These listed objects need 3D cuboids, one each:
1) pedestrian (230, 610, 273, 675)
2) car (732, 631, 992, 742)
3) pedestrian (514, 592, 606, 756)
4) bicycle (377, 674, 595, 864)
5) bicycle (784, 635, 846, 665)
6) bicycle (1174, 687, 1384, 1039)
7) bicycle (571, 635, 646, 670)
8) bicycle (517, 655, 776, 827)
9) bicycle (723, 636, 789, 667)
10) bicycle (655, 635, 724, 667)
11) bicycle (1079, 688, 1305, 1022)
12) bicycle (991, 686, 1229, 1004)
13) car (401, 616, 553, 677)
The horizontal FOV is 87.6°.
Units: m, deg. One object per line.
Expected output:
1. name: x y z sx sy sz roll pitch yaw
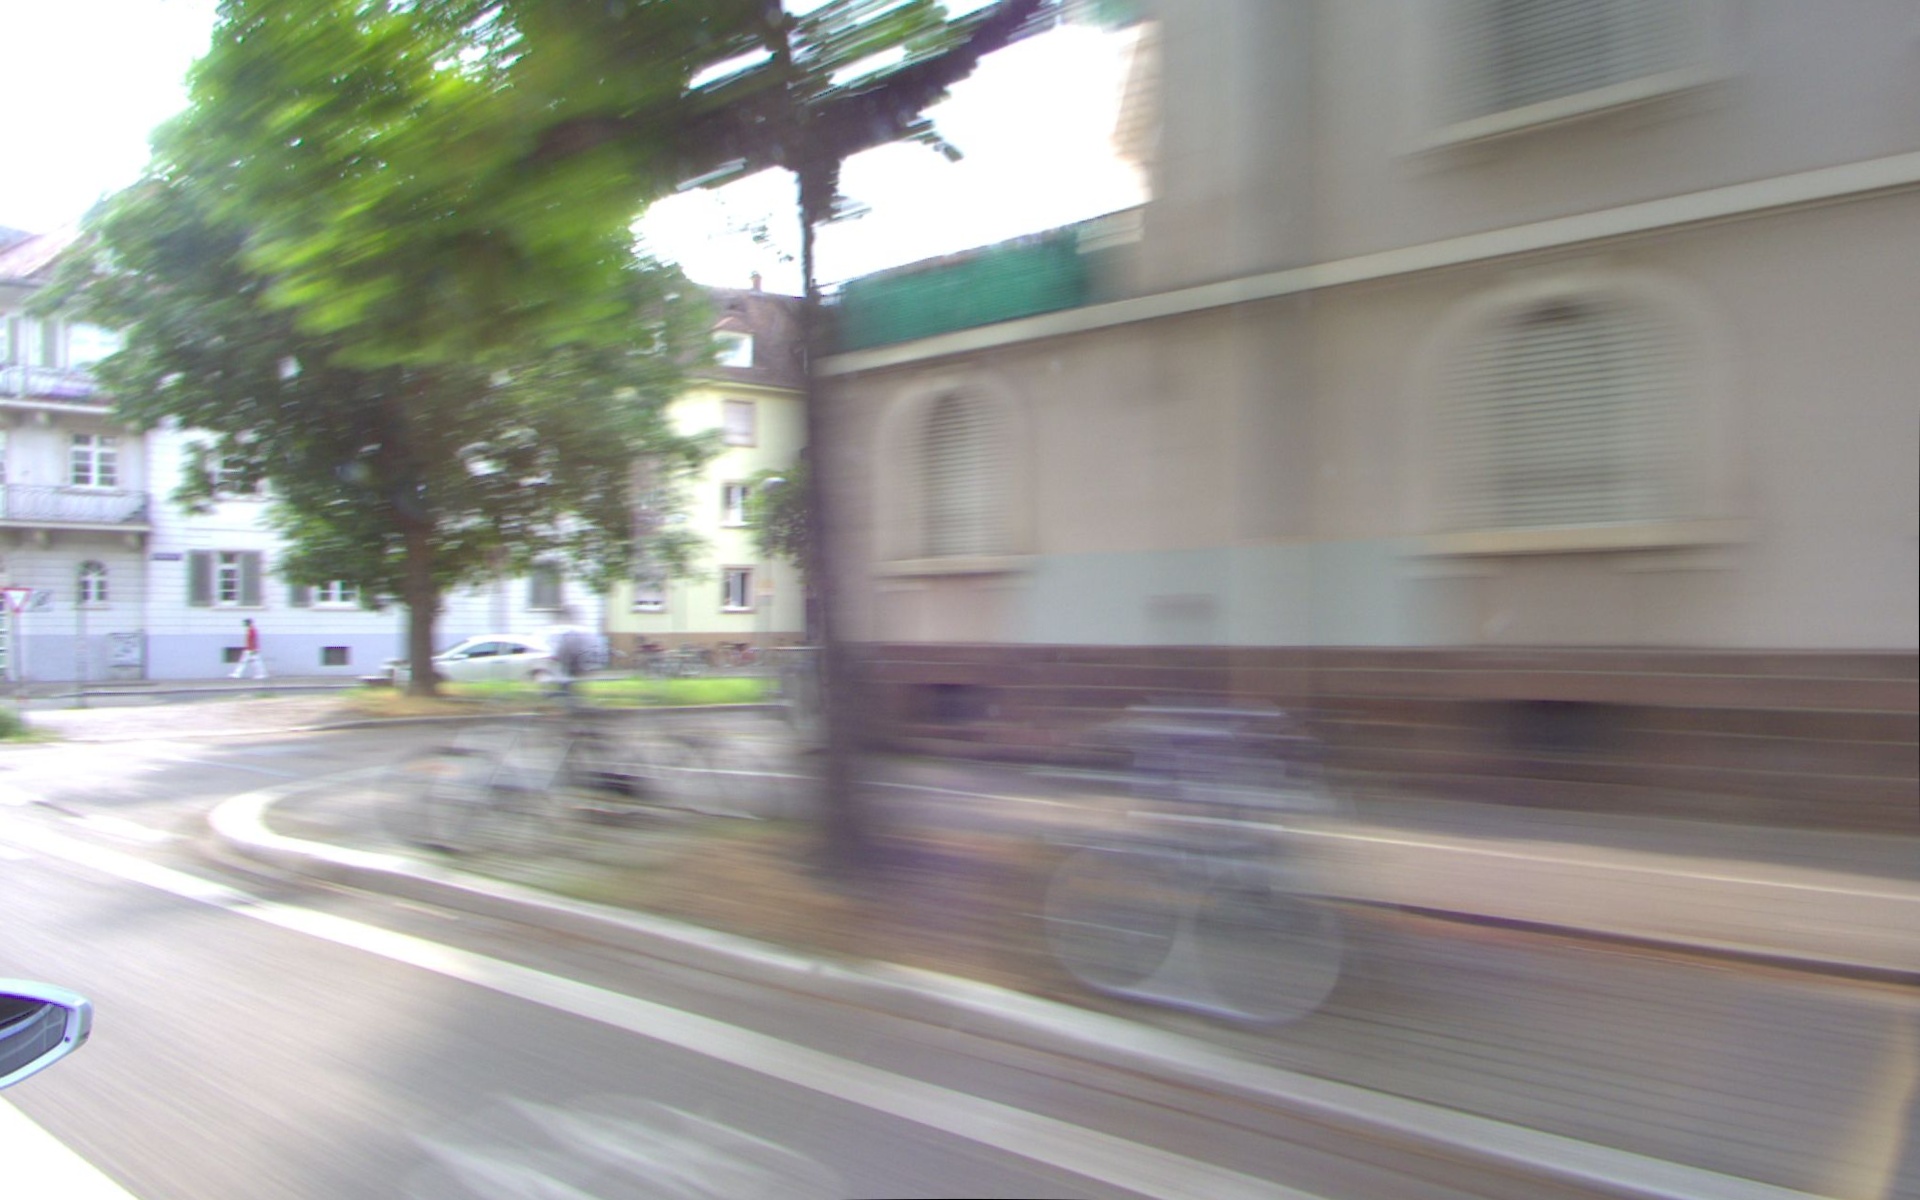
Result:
1. pedestrian: -21.755 1.299 30.768 0.964 1.961 0.897 1 -2 -31
2. car: -1.439 1.207 15.095 3.529 1.470 1.720 1 -2 -35
3. pedestrian: -4.758 0.853 11.888 1.019 1.857 0.615 -1 -1 41
4. bicycle: -3.110 1.061 6.670 0.471 1.080 1.266 -1 -1 31
5. bicycle: -5.960 2.046 41.146 2.485 1.163 0.677 1 2 -38
6. bicycle: 1.374 0.947 4.123 0.344 1.084 1.642 -1 -1 35
7. bicycle: -12.800 1.897 36.514 2.485 1.163 0.677 1 2 -38
8. bicycle: -2.328 1.008 7.466 1.802 1.173 0.586 0 -1 14
9. bicycle: -8.067 2.019 39.618 2.485 1.163 0.677 1 2 -38
10. bicycle: -10.351 1.937 38.417 2.485 1.163 0.677 1 2 -38
11. bicycle: 1.061 0.967 4.306 0.344 1.084 1.642 -1 -1 36
12. bicycle: 0.738 0.973 4.477 0.344 1.084 1.642 -1 -1 36
13. car: -13.011 1.209 26.990 3.569 1.518 1.721 1 1 -31
